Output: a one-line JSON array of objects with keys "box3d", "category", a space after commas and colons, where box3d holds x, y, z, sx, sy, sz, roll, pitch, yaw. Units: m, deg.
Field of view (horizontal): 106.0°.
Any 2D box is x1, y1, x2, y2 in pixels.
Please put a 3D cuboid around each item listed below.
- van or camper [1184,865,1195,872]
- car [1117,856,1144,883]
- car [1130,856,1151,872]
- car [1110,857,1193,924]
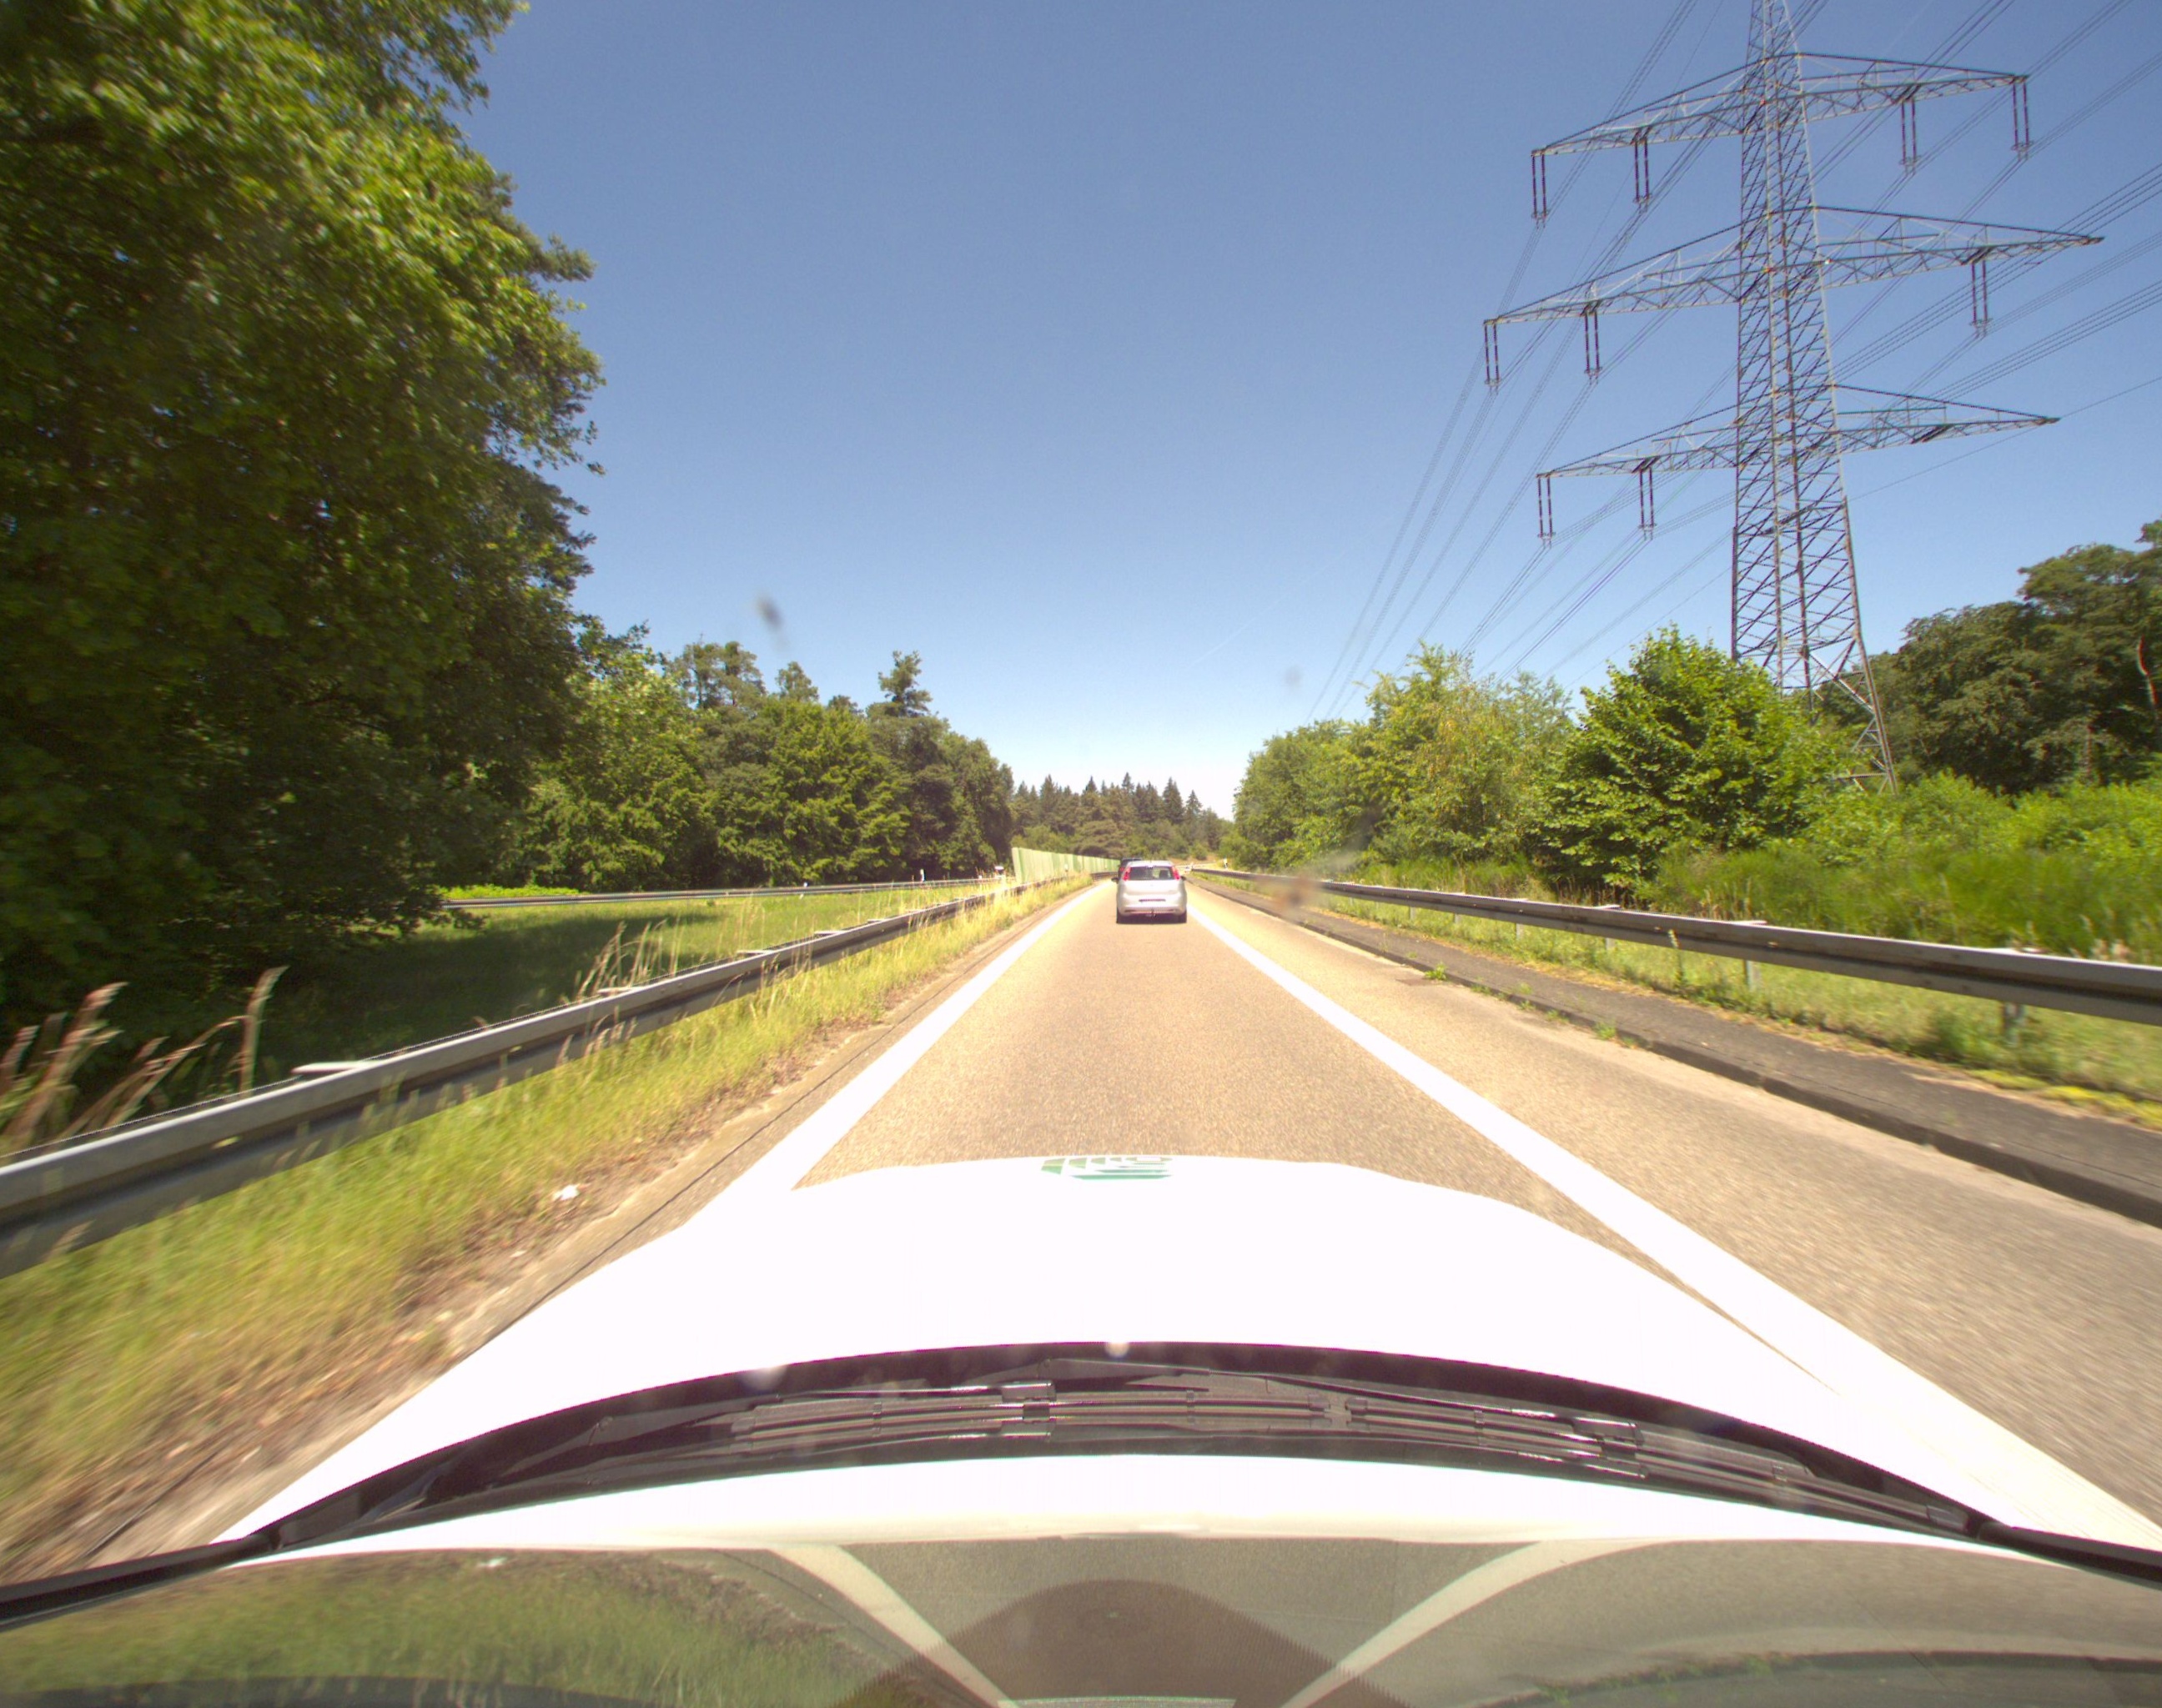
[{"box3d": [23.171, 3.117, 173.499, 1.793, 1.486, 4.016, -2, 0, 15], "category": "van or camper"}, {"box3d": [3.230, 1.009, 53.681, 1.699, 1.676, 3.400, -1, 0, 3], "category": "car"}, {"box3d": [5.724, 0.919, 78.204, 1.701, 1.448, 3.397, -1, 0, 0], "category": "car"}, {"box3d": [1.662, 0.842, 20.200, 1.701, 1.482, 3.397, -1, 0, 0], "category": "car"}]
